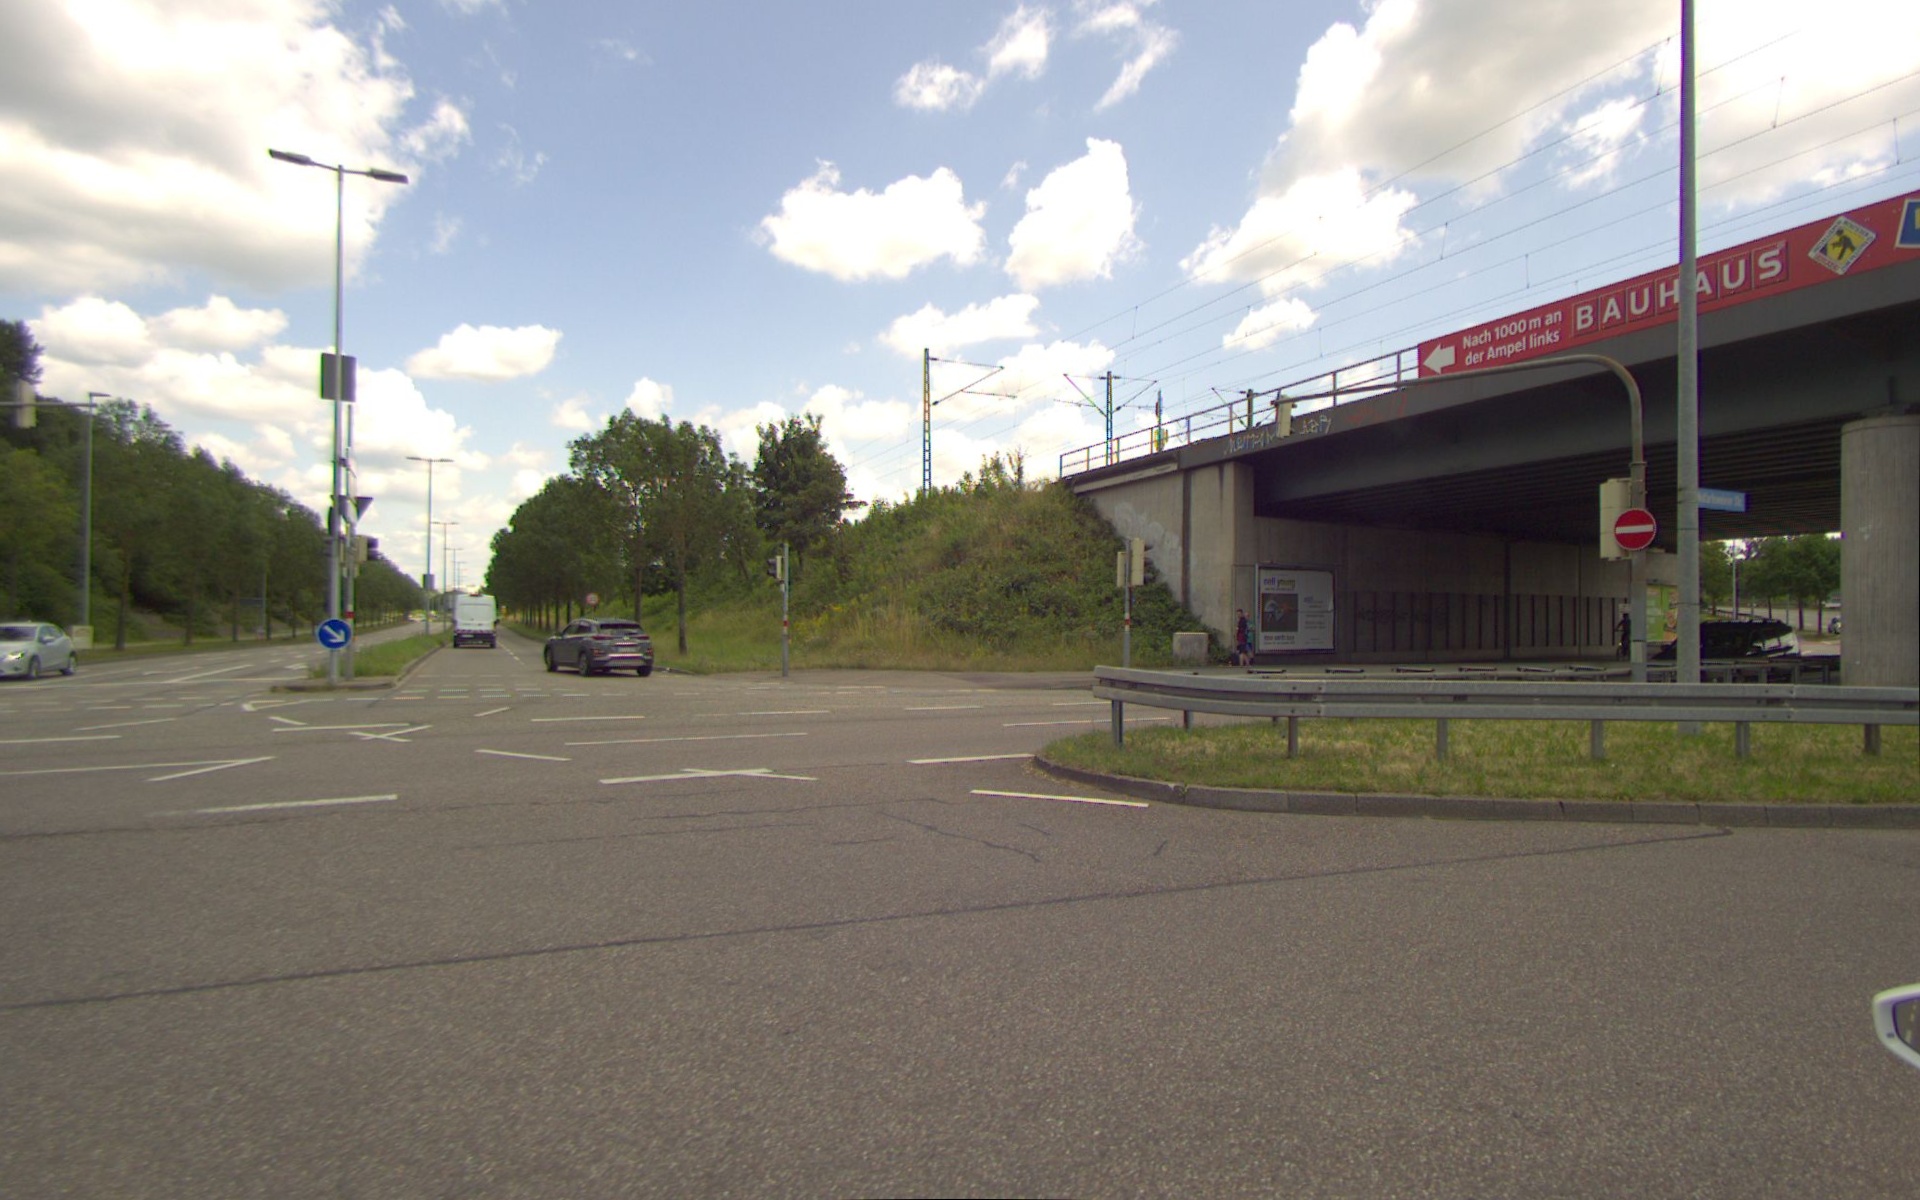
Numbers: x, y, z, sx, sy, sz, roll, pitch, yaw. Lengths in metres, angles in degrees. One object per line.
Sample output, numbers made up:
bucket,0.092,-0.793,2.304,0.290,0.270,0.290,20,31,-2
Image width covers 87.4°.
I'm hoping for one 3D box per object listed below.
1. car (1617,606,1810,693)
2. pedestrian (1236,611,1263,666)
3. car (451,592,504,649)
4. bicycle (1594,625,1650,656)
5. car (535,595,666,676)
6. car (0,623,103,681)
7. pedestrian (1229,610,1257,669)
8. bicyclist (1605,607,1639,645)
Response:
car,17.101,1.073,22.740,4.665,1.782,1.983,1,-1,-32
pedestrian,8.764,1.172,30.431,0.579,1.646,0.552,1,-1,-29
car,-25.582,1.078,53.343,2.355,2.859,5.382,1,-1,-25
bicycle,25.781,1.581,39.122,2.251,1.158,0.678,2,0,-23
car,-9.892,0.932,27.500,1.986,2.040,3.950,2,-2,-42
car,-24.593,1.308,26.373,1.972,1.397,4.299,1,-1,-23
pedestrian,8.336,1.159,29.594,0.550,1.703,0.587,1,-1,-32
bicyclist,25.772,1.009,39.107,0.911,1.427,0.680,2,0,-23
